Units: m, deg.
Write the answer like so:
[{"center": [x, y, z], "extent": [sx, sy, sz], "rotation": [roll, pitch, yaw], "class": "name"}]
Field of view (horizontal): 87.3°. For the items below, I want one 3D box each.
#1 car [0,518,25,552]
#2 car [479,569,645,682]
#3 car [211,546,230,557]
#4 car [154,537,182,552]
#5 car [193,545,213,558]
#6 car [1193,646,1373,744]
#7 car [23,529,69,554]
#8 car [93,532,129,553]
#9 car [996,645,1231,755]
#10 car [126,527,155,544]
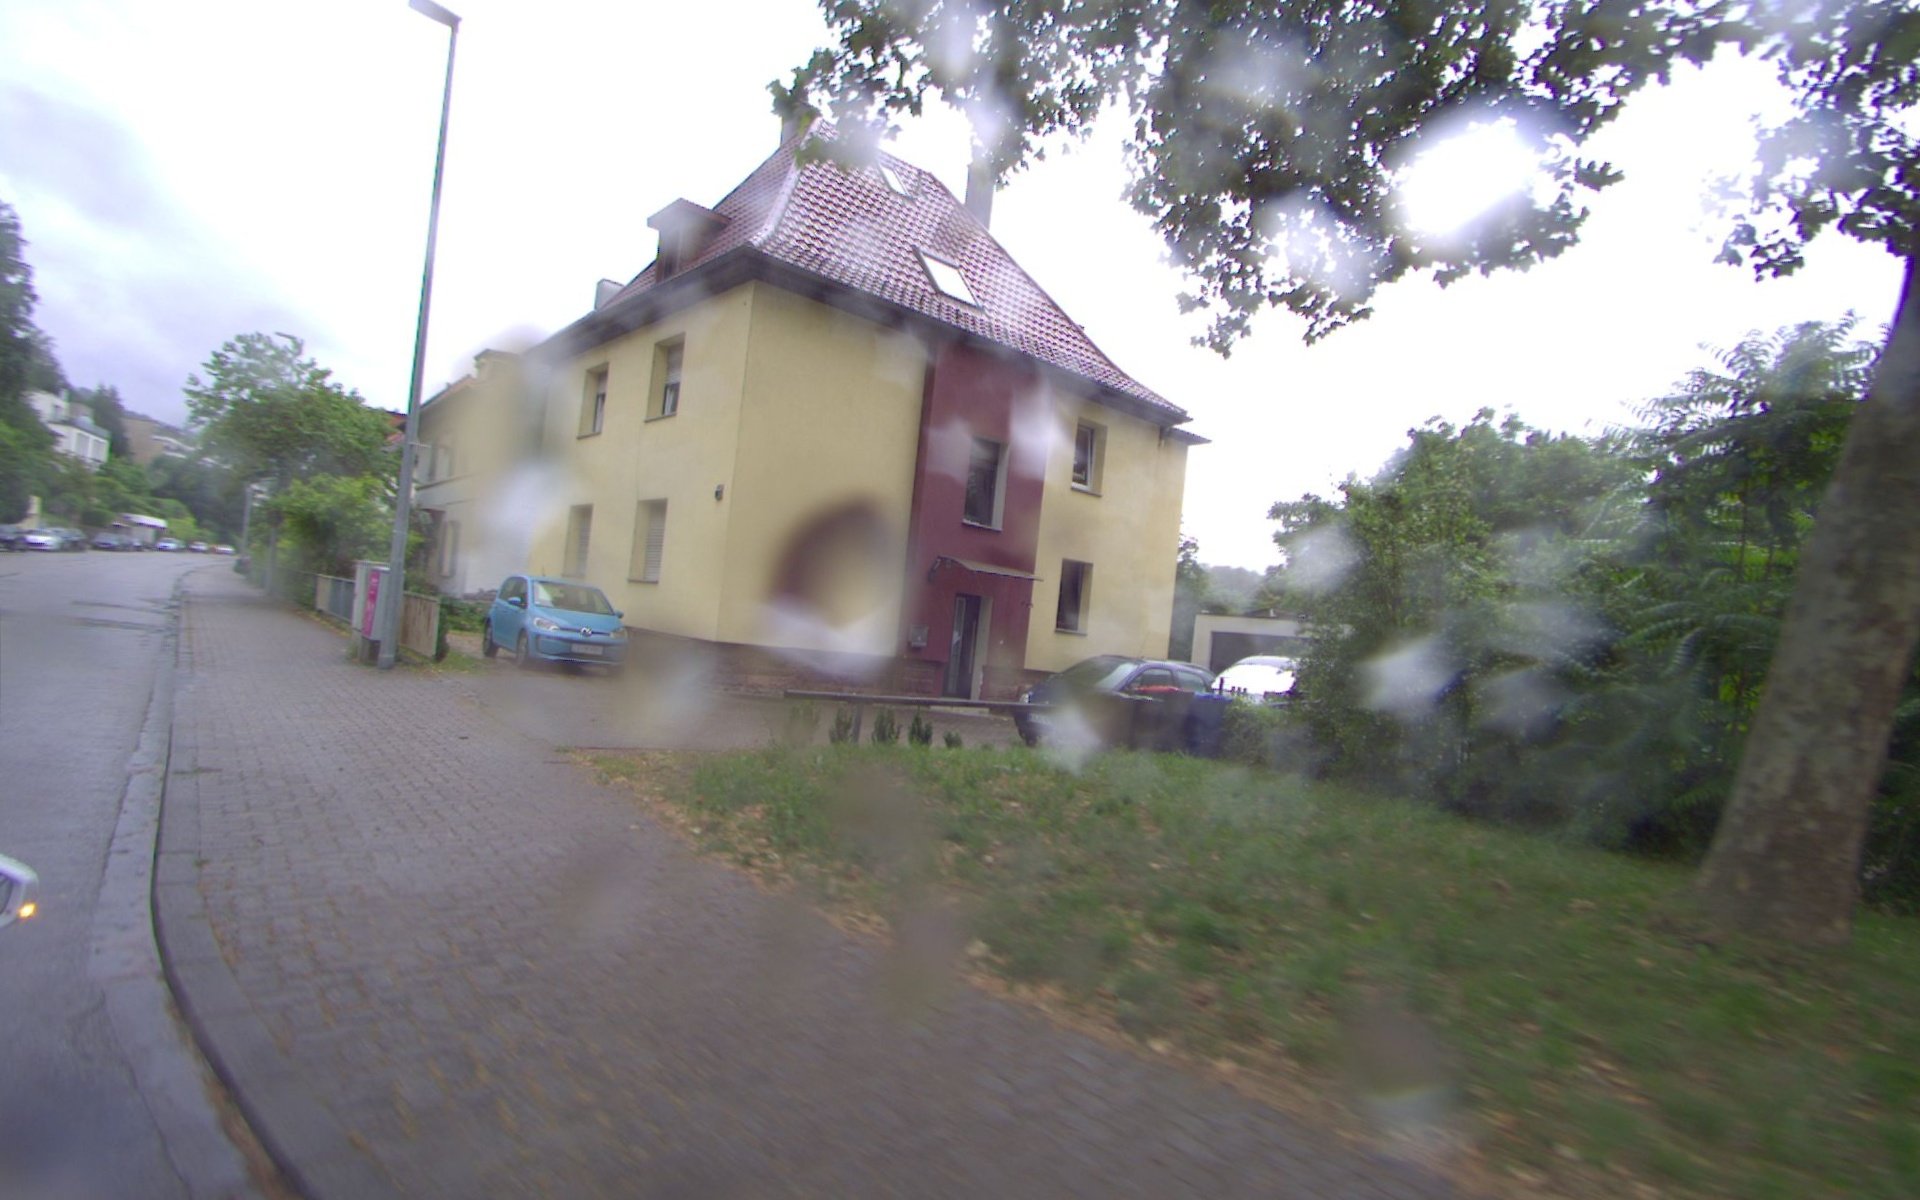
[{"center": [-52.591, -3.633, 54.837], "extent": [1.808, 1.702, 3.960], "rotation": [7, 0, -36], "class": "car"}, {"center": [-6.702, 0.366, 16.758], "extent": [1.636, 1.465, 3.514], "rotation": [7, 0, -36], "class": "car"}, {"center": [-111.211, -7.332, 151.239], "extent": [1.713, 1.474, 3.788], "rotation": [7, 0, -29], "class": "car"}, {"center": [-90.732, -6.353, 115.304], "extent": [1.807, 1.474, 3.788], "rotation": [7, 0, -29], "class": "car"}, {"center": [-101.737, -6.565, 135.206], "extent": [1.743, 1.474, 3.784], "rotation": [7, 0, -32], "class": "car"}, {"center": [5.980, 1.769, 18.484], "extent": [3.404, 1.489, 1.474], "rotation": [7, 0, -41], "class": "car"}, {"center": [-58.551, -3.759, 64.474], "extent": [1.701, 1.361, 3.643], "rotation": [7, 0, -36], "class": "car"}, {"center": [-73.624, -5.010, 87.298], "extent": [1.701, 1.570, 3.785], "rotation": [7, 0, -31], "class": "car"}, {"center": [2.367, 1.525, 15.106], "extent": [3.429, 1.314, 1.528], "rotation": [7, 0, -41], "class": "car"}, {"center": [-83.941, -6.609, 103.086], "extent": [1.715, 1.474, 3.783], "rotation": [7, 0, -33], "class": "car"}]
